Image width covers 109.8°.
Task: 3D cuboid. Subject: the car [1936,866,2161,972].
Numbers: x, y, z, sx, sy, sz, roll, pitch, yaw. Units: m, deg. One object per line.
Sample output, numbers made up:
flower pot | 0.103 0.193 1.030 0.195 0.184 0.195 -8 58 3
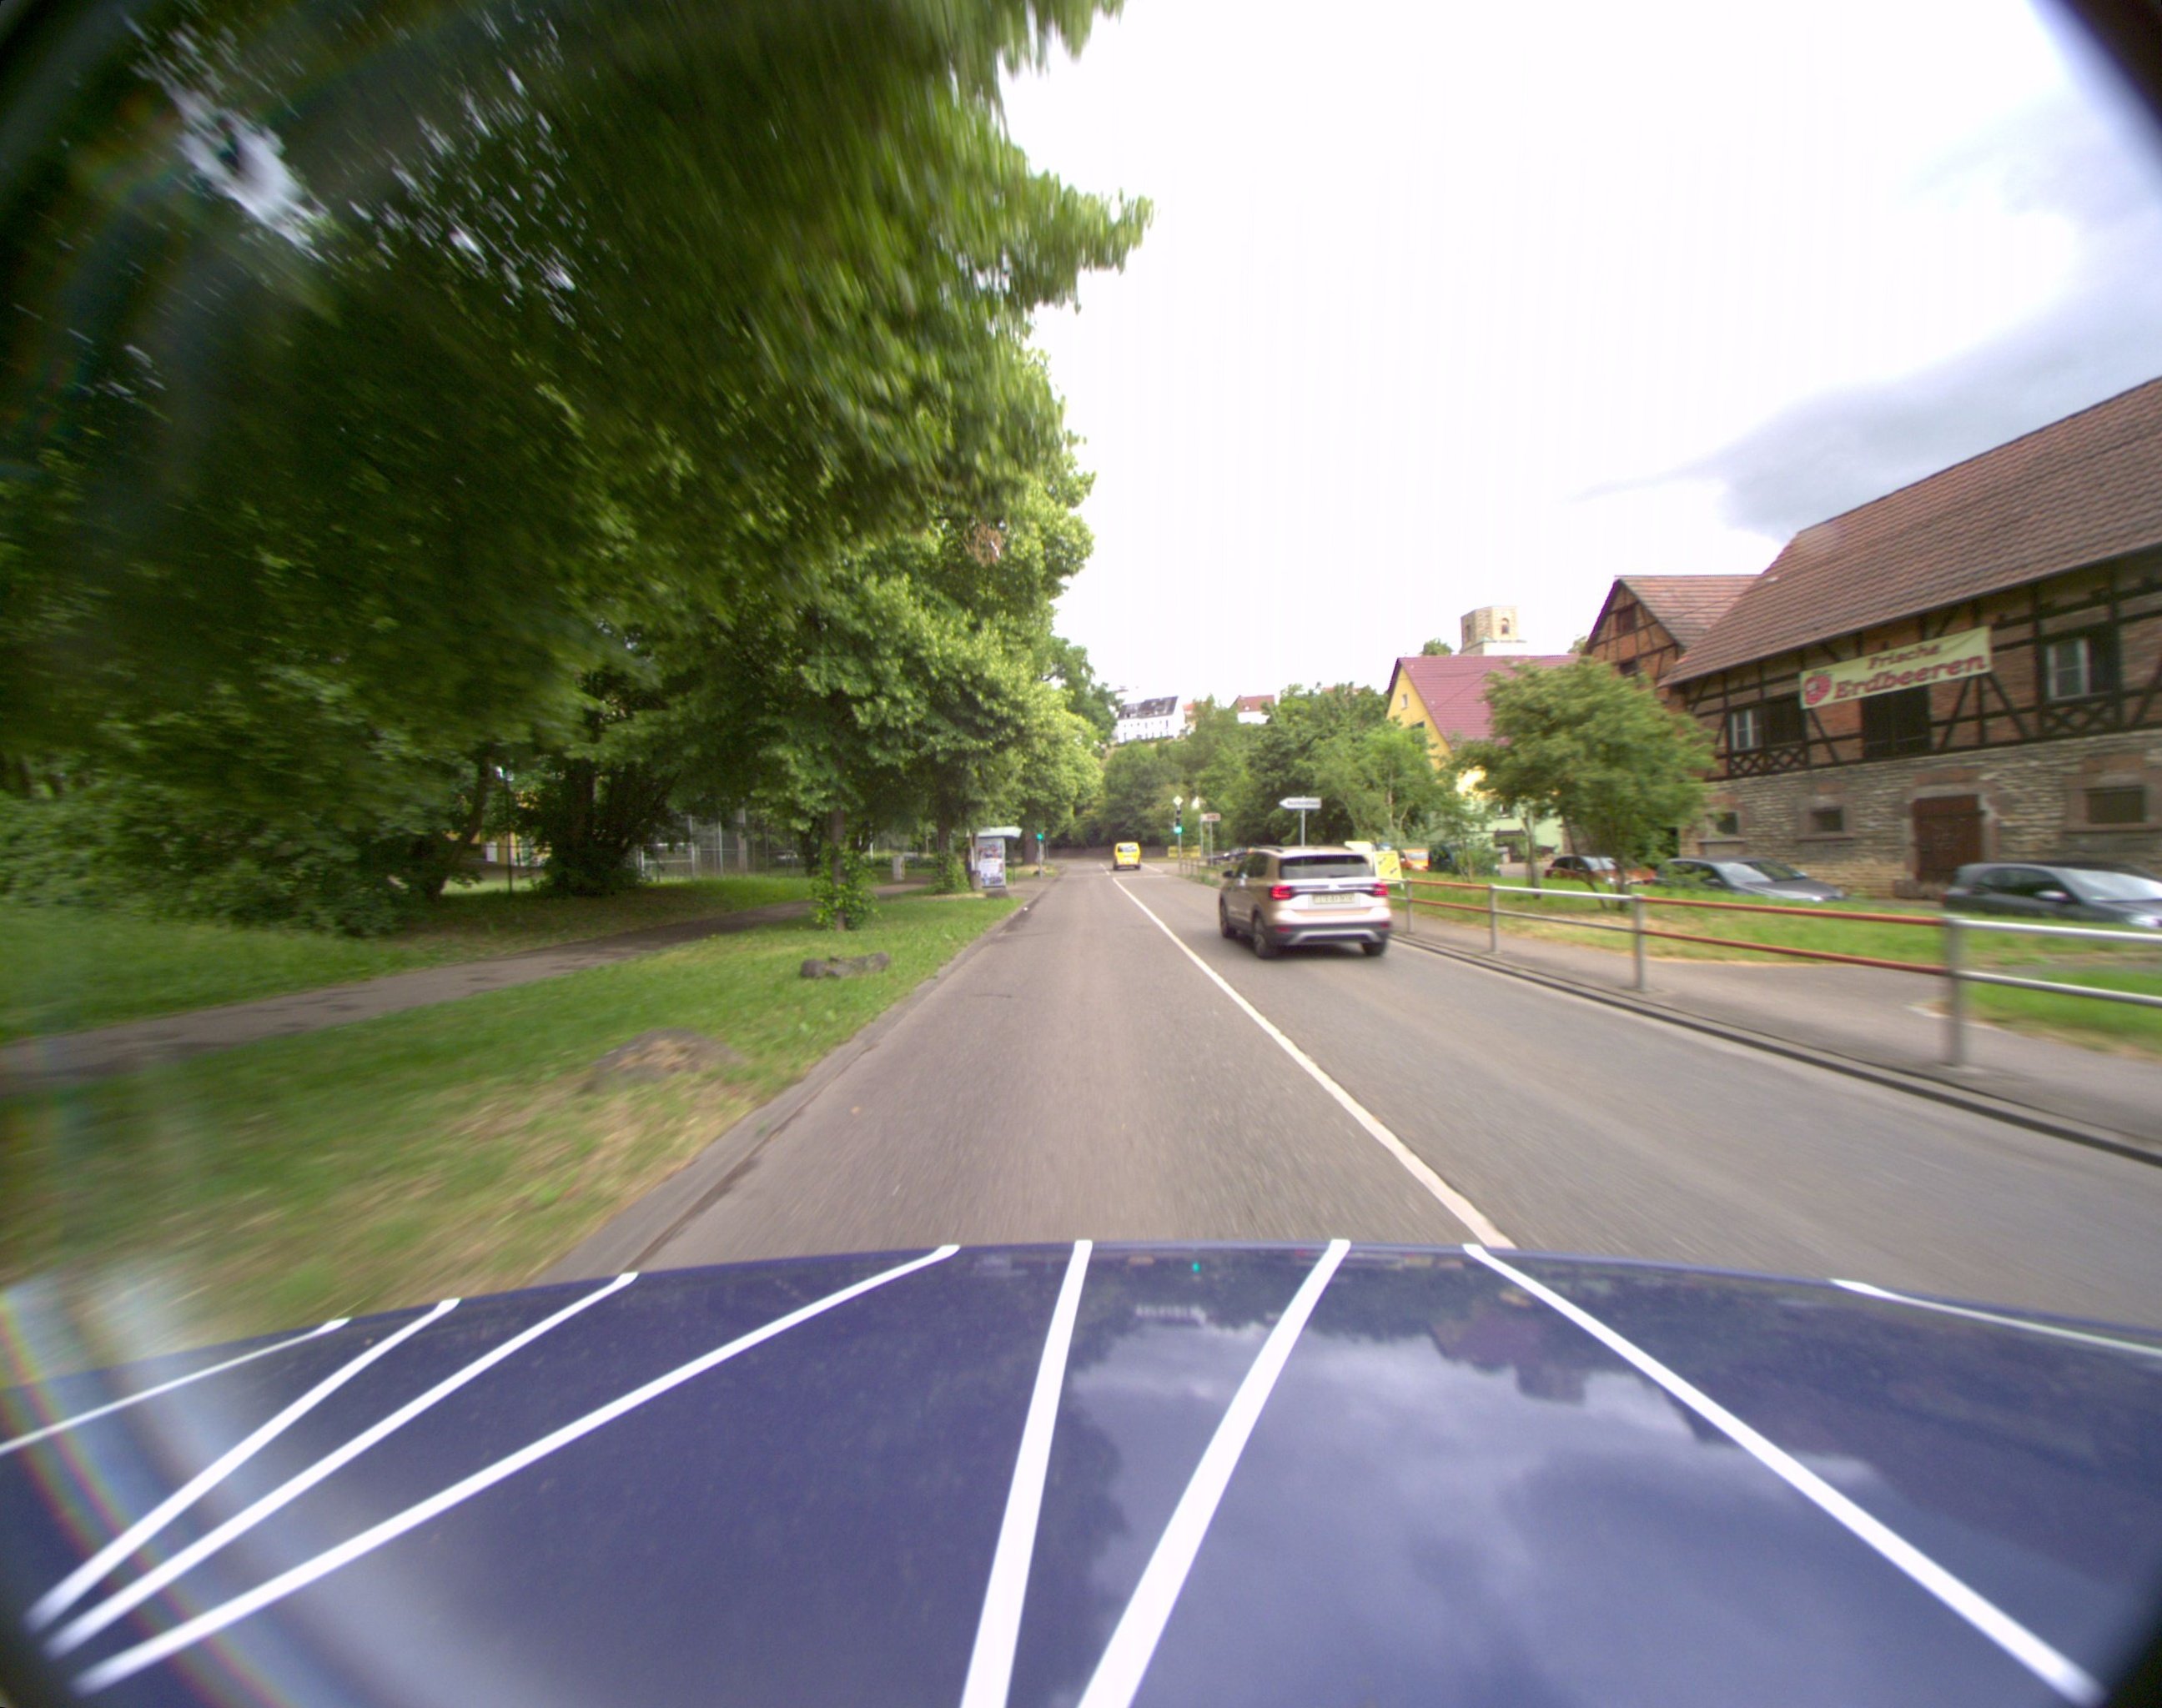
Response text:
car | 14.534 0.859 10.996 1.556 1.270 2.555 -1 1 6

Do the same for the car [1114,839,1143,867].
car | 3.449 -0.118 56.214 1.850 1.919 4.768 -2 1 1

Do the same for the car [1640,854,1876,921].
car | 14.884 0.661 17.069 1.997 1.270 4.001 -1 1 6

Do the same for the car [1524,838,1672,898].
car | 15.108 0.360 22.482 1.815 1.608 4.000 0 1 3

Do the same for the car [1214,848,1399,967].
car | 3.235 0.671 11.717 1.709 1.503 4.000 0 1 1

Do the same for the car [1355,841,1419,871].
car | 17.387 0.095 43.410 1.998 1.608 4.448 0 1 3

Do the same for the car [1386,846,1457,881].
car | 16.916 0.436 37.985 1.952 1.608 4.000 0 1 3

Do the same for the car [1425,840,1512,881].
car | 16.271 0.221 32.158 1.815 1.608 4.000 0 1 3
